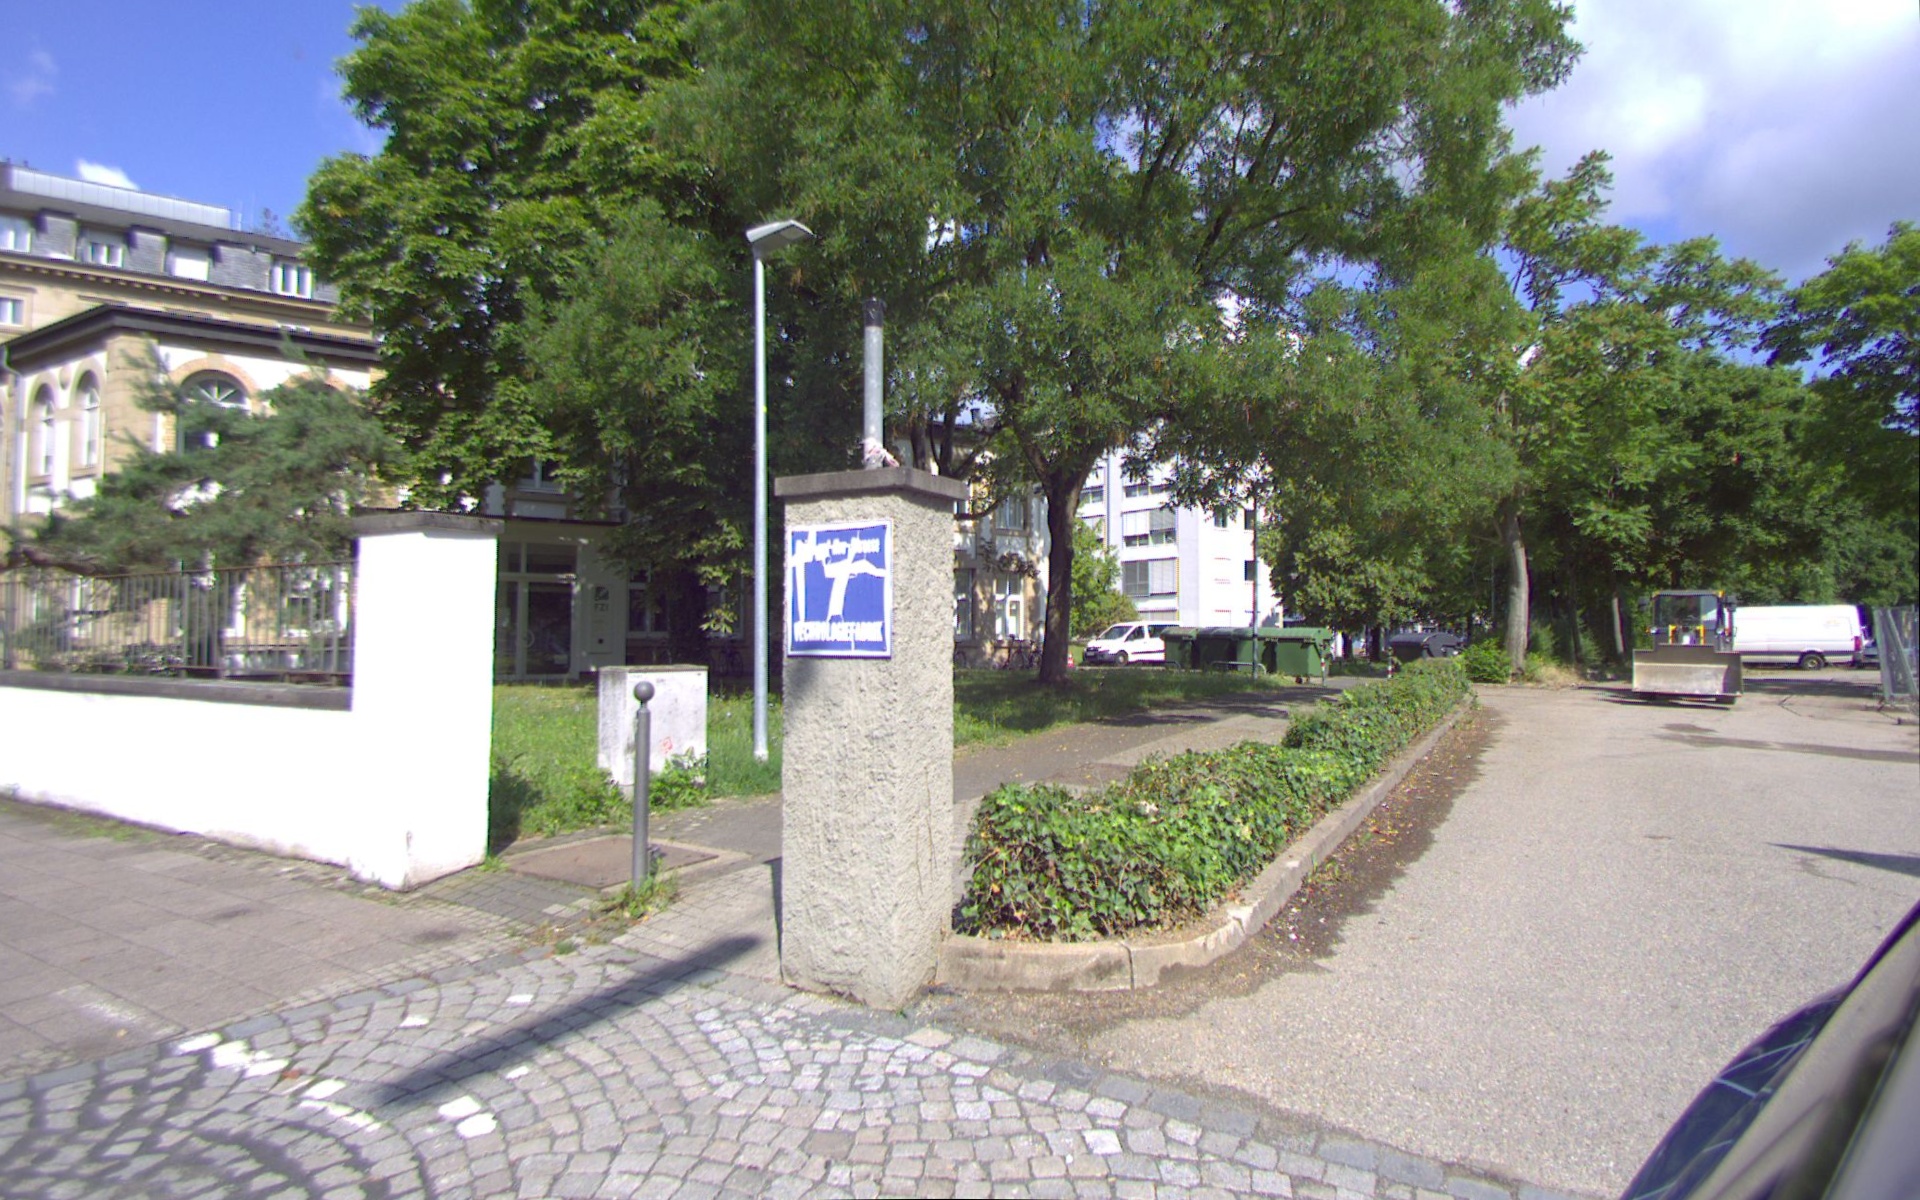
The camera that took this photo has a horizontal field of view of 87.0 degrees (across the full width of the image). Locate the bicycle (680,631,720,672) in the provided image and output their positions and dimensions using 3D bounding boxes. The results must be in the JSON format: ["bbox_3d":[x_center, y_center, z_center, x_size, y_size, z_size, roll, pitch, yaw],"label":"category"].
[{"bbox_3d":[-6.798,1.339,26.432,0.419,1.000,1.821,3,-2,-33],"label":"bicycle"}]

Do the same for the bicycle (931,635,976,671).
[{"bbox_3d":[-0.214,1.593,30.658,0.419,1.000,1.821,3,-2,-33],"label":"bicycle"}]

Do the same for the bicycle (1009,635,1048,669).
[{"bbox_3d":[2.162,1.641,32.107,0.419,1.000,1.459,3,-2,-32],"label":"bicycle"}]

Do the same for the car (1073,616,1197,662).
[{"bbox_3d":[7.464,1.632,43.066,4.989,1.887,2.041,1,-2,-28],"label":"car"}]

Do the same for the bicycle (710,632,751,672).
[{"bbox_3d":[-6.080,1.369,26.775,0.419,1.000,1.821,3,-2,-33],"label":"bicycle"}]

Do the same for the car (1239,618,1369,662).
[{"bbox_3d":[12.491,1.428,36.606,4.994,1.516,1.810,1,-2,-34],"label":"car"}]

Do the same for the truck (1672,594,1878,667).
[{"bbox_3d":[34.023,1.255,42.455,6.535,2.813,1.969,-2,0,44],"label":"truck"}]

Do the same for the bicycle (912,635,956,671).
[{"bbox_3d":[-0.787,1.563,30.242,0.419,1.000,1.821,3,-2,-33],"label":"bicycle"}]

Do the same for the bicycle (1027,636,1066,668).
[{"bbox_3d":[2.774,1.658,32.408,0.419,1.000,1.458,3,-2,-33],"label":"bicycle"}]

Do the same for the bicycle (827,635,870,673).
[{"bbox_3d":[-3.167,1.513,28.605,0.419,1.000,1.821,3,-2,-33],"label":"bicycle"}]

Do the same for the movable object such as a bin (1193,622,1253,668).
[{"bbox_3d":[7.335,1.233,28.299,1.009,1.236,1.273,1,-1,-35],"label":"movable object such as a bin"}]

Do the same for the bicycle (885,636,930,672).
[{"bbox_3d":[-1.556,1.576,29.651,0.419,1.000,1.821,3,-2,-33],"label":"bicycle"}]

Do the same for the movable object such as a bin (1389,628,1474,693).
[{"bbox_3d":[10.460,1.315,22.490,1.106,1.374,1.326,0,-1,-14],"label":"movable object such as a bin"}]

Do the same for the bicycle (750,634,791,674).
[{"bbox_3d":[-5.133,1.443,27.349,0.419,1.000,1.821,3,-2,-33],"label":"bicycle"}]

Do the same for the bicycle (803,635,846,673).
[{"bbox_3d":[-3.781,1.486,28.207,0.419,1.000,1.821,3,-2,-33],"label":"bicycle"}]

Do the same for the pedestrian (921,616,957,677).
[{"bbox_3d":[-0.577,1.266,27.913,0.842,1.644,0.570,1,-3,-36],"label":"pedestrian"}]

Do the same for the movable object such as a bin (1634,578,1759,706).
[{"bbox_3d":[16.331,0.815,22.358,1.989,2.475,5.358,1,0,38],"label":"movable object such as a bin"}]

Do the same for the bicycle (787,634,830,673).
[{"bbox_3d":[-4.173,1.469,27.843,0.419,1.000,1.821,3,-2,-33],"label":"bicycle"}]

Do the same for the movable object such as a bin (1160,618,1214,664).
[{"bbox_3d":[6.621,1.174,29.532,0.984,1.310,1.191,1,-1,-35],"label":"movable object such as a bin"}]

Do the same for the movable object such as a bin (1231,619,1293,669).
[{"bbox_3d":[8.089,1.158,27.112,0.981,1.282,1.256,1,-1,-35],"label":"movable object such as a bin"}]

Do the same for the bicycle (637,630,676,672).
[{"bbox_3d":[-7.707,1.279,25.643,0.419,1.000,1.821,3,-2,-33],"label":"bicycle"}]

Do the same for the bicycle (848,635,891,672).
[{"bbox_3d":[-2.611,1.536,29.075,0.419,1.000,1.821,3,-2,-33],"label":"bicycle"}]

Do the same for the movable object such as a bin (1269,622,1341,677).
[{"bbox_3d":[8.844,1.247,25.968,1.073,1.370,1.366,1,-1,-35],"label":"movable object such as a bin"}]
